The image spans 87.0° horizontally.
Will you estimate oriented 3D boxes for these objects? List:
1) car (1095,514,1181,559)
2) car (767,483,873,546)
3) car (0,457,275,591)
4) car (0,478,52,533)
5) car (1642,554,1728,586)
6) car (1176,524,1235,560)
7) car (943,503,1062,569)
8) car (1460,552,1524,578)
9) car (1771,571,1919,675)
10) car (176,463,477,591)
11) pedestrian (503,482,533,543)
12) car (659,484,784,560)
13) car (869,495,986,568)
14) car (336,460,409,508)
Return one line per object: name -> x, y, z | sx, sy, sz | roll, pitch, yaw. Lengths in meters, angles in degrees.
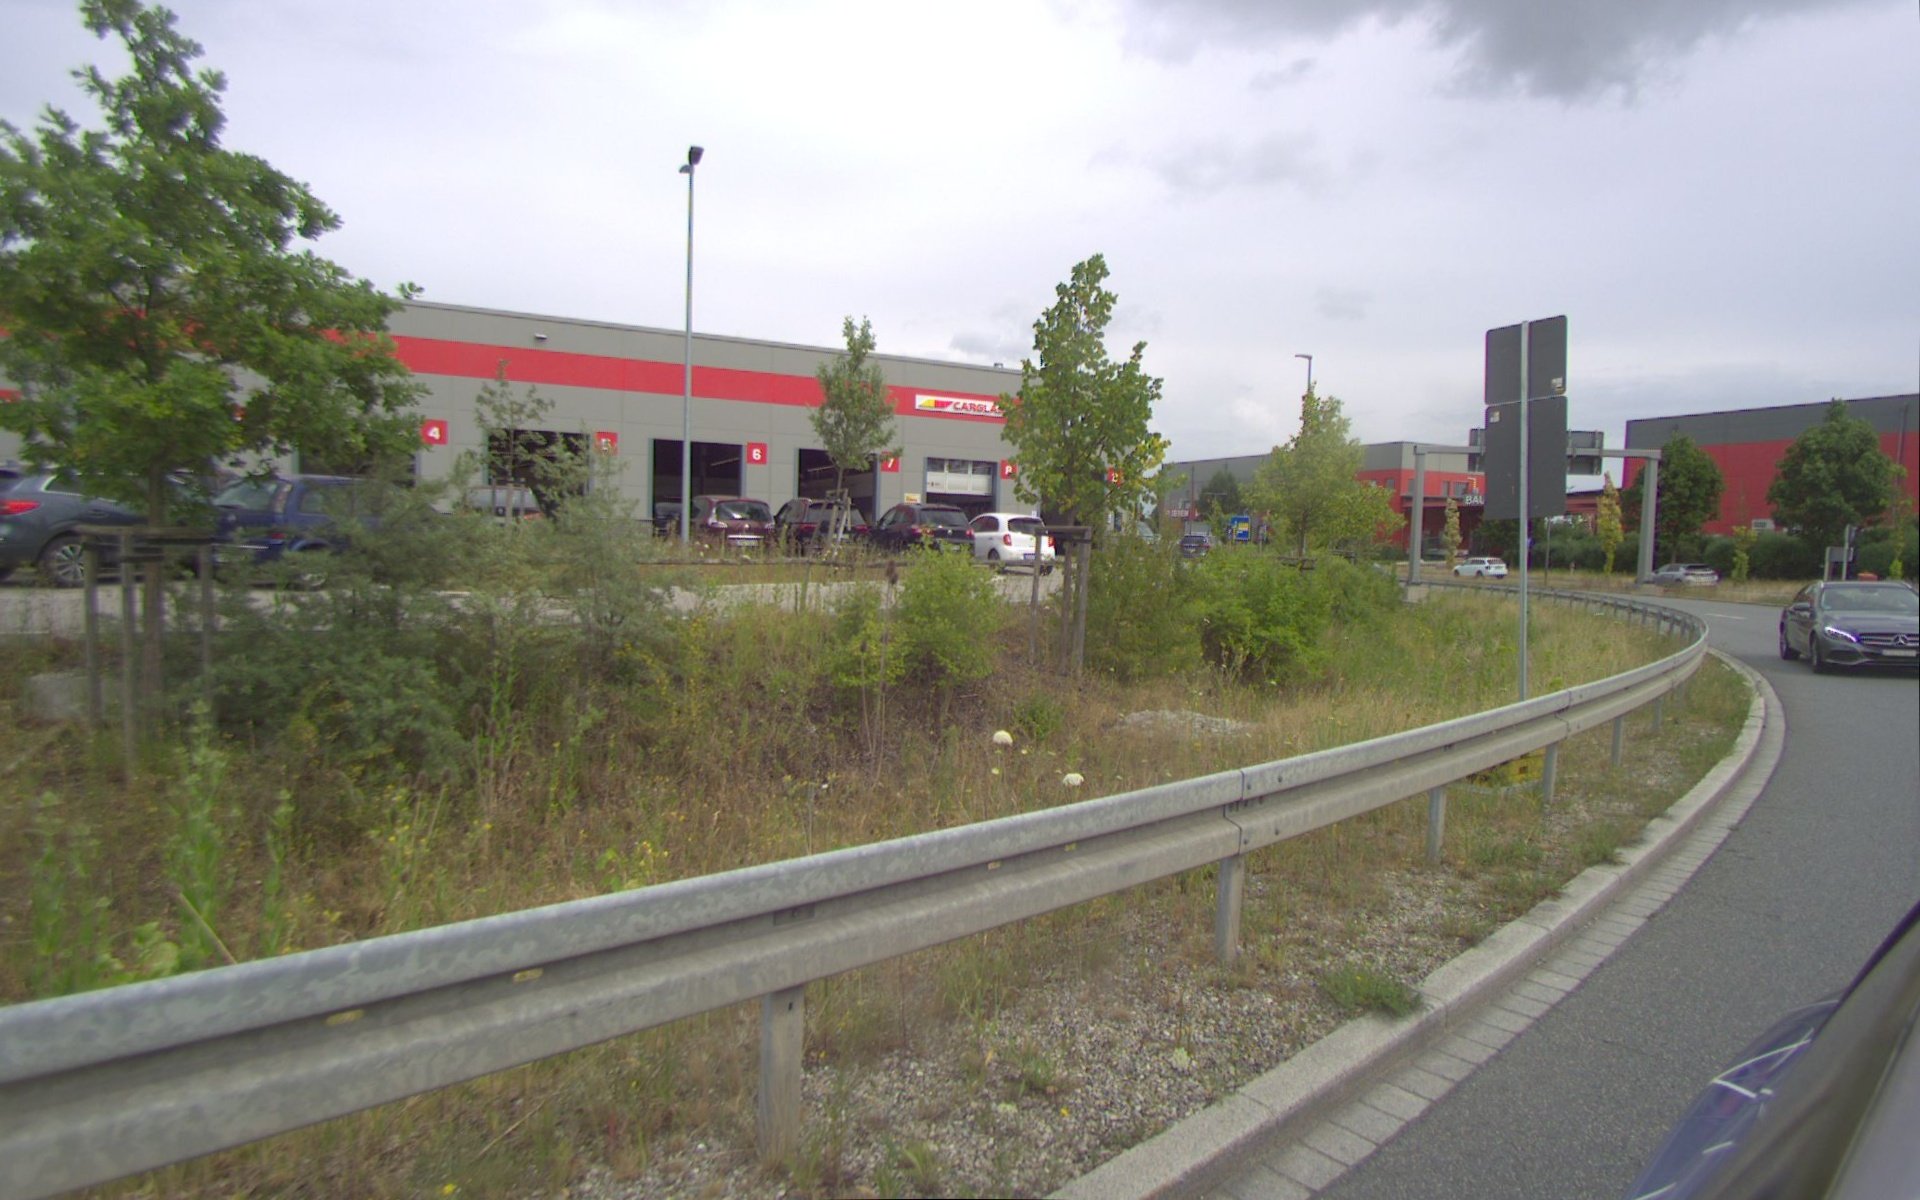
car -> 7.875, -2.850, 45.115 | 1.670, 1.833, 3.979 | 3, 3, -26
car -> -3.409, -1.994, 24.150 | 1.610, 1.350, 3.454 | 0, 3, -24
car -> -12.051, -1.111, 14.277 | 1.733, 1.626, 3.795 | 4, 5, 14
car -> -27.473, -2.697, 28.511 | 1.651, 1.459, 3.607 | 3, 2, -22
car -> 36.555, -1.533, 51.153 | 1.436, 1.504, 4.095 | -3, 2, 2
car -> 13.500, -3.213, 55.560 | 1.792, 1.803, 4.121 | 1, 5, 34
car -> 1.038, -1.740, 26.713 | 1.610, 1.556, 3.638 | 0, 5, -25
car -> 35.730, -2.358, 68.102 | 1.686, 1.654, 4.274 | -1, 2, -7
car -> 15.240, 0.295, 16.881 | 1.890, 1.516, 4.297 | 0, 1, 28
car -> -9.365, -1.132, 15.349 | 1.644, 1.657, 3.751 | 3, 5, 15
pedestrian -> -13.097, -2.569, 29.998 | 0.664, 1.763, 0.629 | -1, 3, -43
car -> -5.558, -1.708, 23.295 | 1.644, 1.557, 3.888 | -1, 2, -32
car -> -0.880, -1.671, 25.181 | 1.696, 1.655, 3.454 | 0, 3, -24
car -> -19.266, -3.765, 33.341 | 1.627, 1.240, 3.921 | -1, 2, -24
